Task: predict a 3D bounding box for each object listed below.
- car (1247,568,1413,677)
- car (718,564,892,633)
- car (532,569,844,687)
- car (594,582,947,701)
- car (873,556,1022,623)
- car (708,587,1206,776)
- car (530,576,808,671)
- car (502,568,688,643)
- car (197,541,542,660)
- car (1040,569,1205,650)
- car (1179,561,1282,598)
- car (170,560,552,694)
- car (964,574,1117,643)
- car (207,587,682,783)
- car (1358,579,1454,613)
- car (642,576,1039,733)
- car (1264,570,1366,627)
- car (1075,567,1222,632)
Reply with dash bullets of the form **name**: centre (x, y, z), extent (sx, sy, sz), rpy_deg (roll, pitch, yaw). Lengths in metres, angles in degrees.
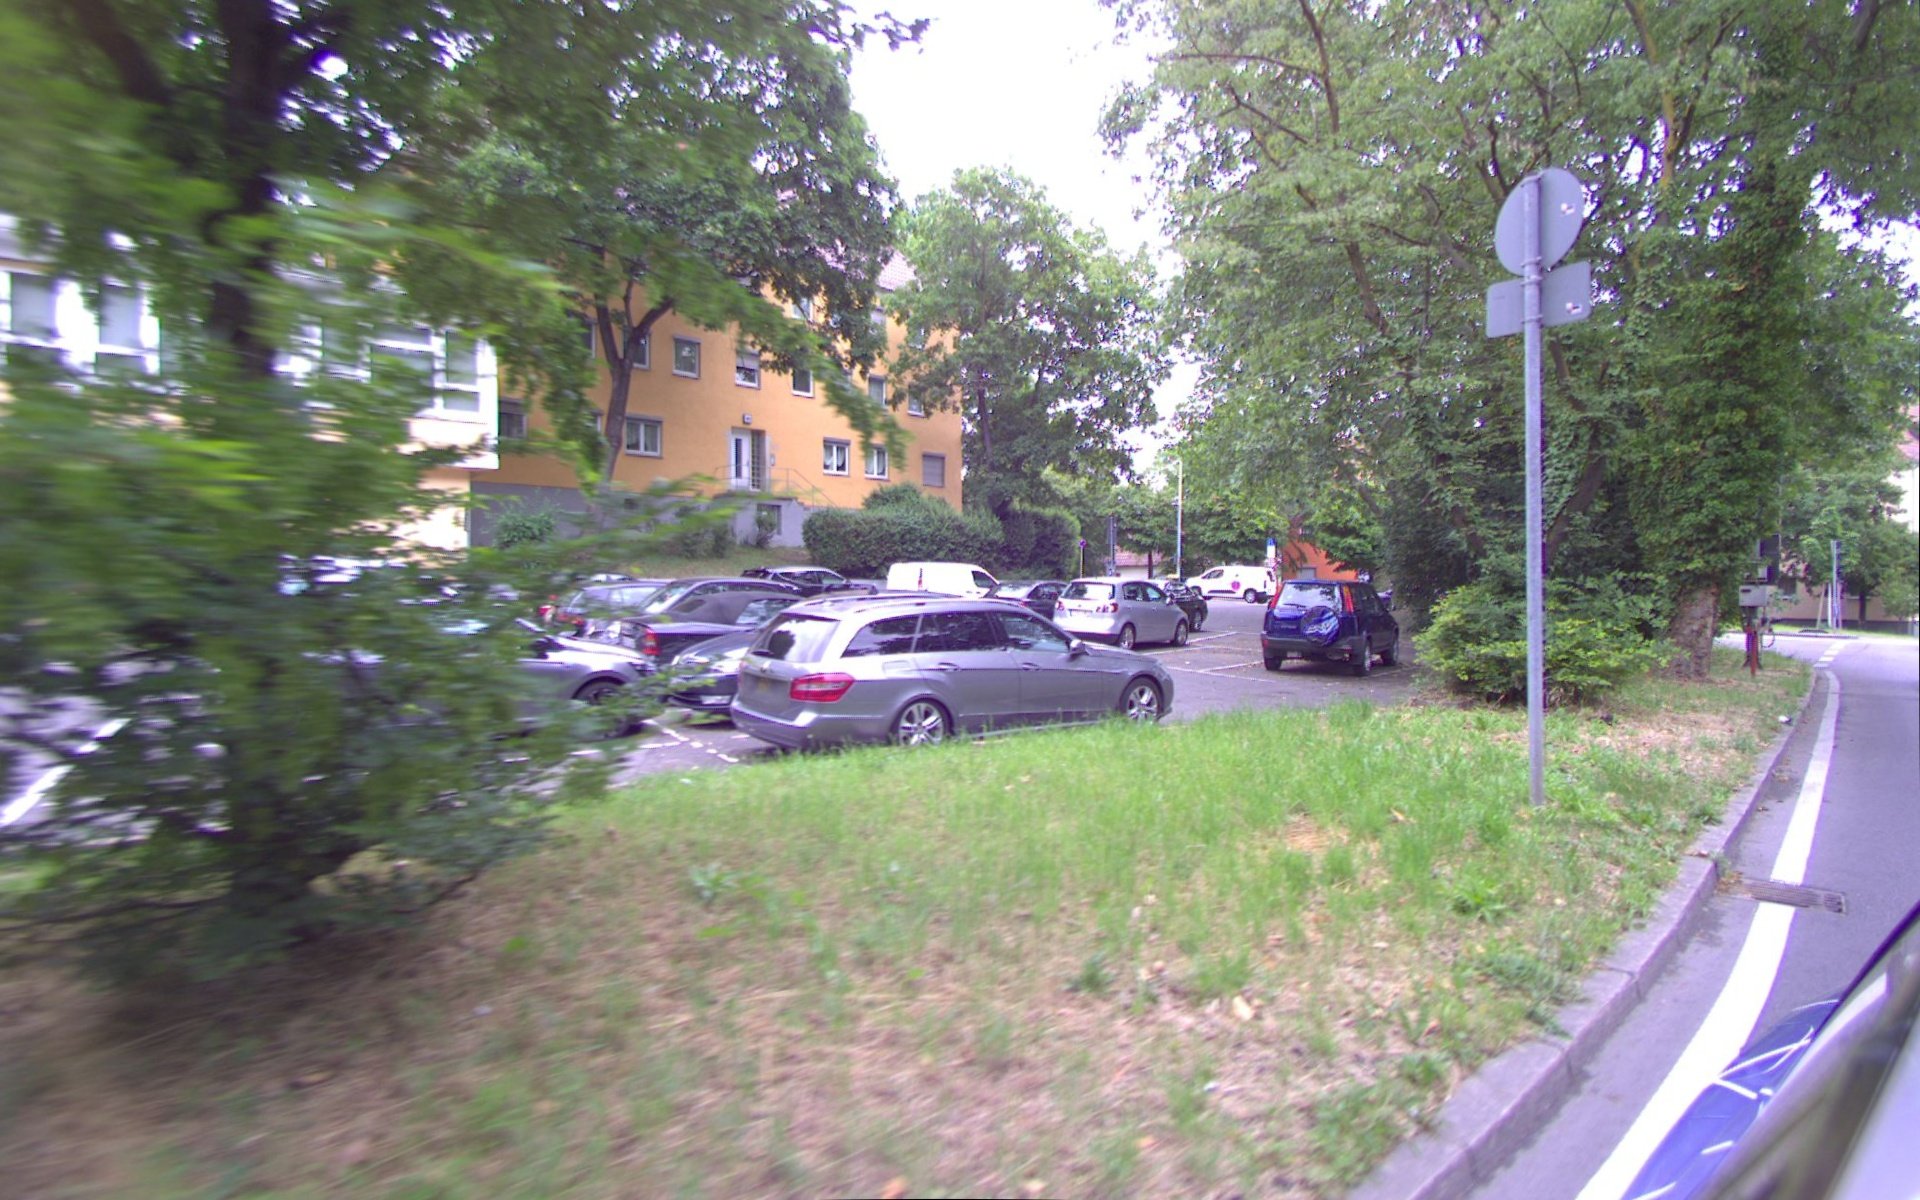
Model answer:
- **car**: centre (6.938, 0.281, 18.632), extent (1.802, 1.685, 4.828), rpy_deg (3, 3, 33)
- **car**: centre (-4.086, -0.120, 27.128), extent (1.994, 1.693, 4.290), rpy_deg (2, 3, 44)
- **car**: centre (-4.153, 0.364, 15.696), extent (4.320, 1.614, 1.792), rpy_deg (0, 1, -34)
- **car**: centre (-2.513, 0.480, 14.059), extent (4.509, 1.396, 1.790), rpy_deg (0, 1, -38)
- **car**: centre (-0.326, -0.377, 31.207), extent (1.994, 1.909, 4.527), rpy_deg (2, 3, 44)
- **car**: centre (0.169, 0.632, 10.207), extent (4.969, 1.460, 1.790), rpy_deg (0, 1, -38)
- **car**: centre (-5.009, 0.349, 17.640), extent (4.320, 1.464, 1.792), rpy_deg (0, 1, -34)
- **car**: centre (-8.127, 0.075, 22.753), extent (1.649, 1.523, 3.614), rpy_deg (2, 2, 41)
- **car**: centre (-8.708, 0.052, 15.218), extent (4.160, 1.460, 1.814), rpy_deg (4, -1, -32)
- **car**: centre (3.712, 0.150, 22.648), extent (1.731, 1.588, 4.070), rpy_deg (4, 3, 41)
- **car**: centre (13.782, -1.100, 51.670), extent (4.814, 1.811, 1.767), rpy_deg (2, 3, 36)
- **car**: centre (-7.585, 0.377, 13.129), extent (3.926, 1.460, 1.814), rpy_deg (4, -1, -32)
- **car**: centre (2.007, 0.128, 24.241), extent (1.728, 1.445, 4.075), rpy_deg (4, 3, 37)
- **car**: centre (-4.848, 0.636, 9.738), extent (3.827, 1.460, 1.748), rpy_deg (-1, 2, -38)
- **car**: centre (22.078, -0.197, 50.123), extent (4.101, 1.446, 1.717), rpy_deg (4, 2, 33)
- **car**: centre (-1.323, 0.536, 12.302), extent (4.509, 1.577, 1.790), rpy_deg (0, 1, -38)
- **car**: centre (12.019, -0.098, 34.595), extent (1.828, 1.502, 4.430), rpy_deg (4, 4, 0)
- **car**: centre (5.307, -0.046, 28.005), extent (1.990, 1.598, 4.837), rpy_deg (2, 2, 38)
